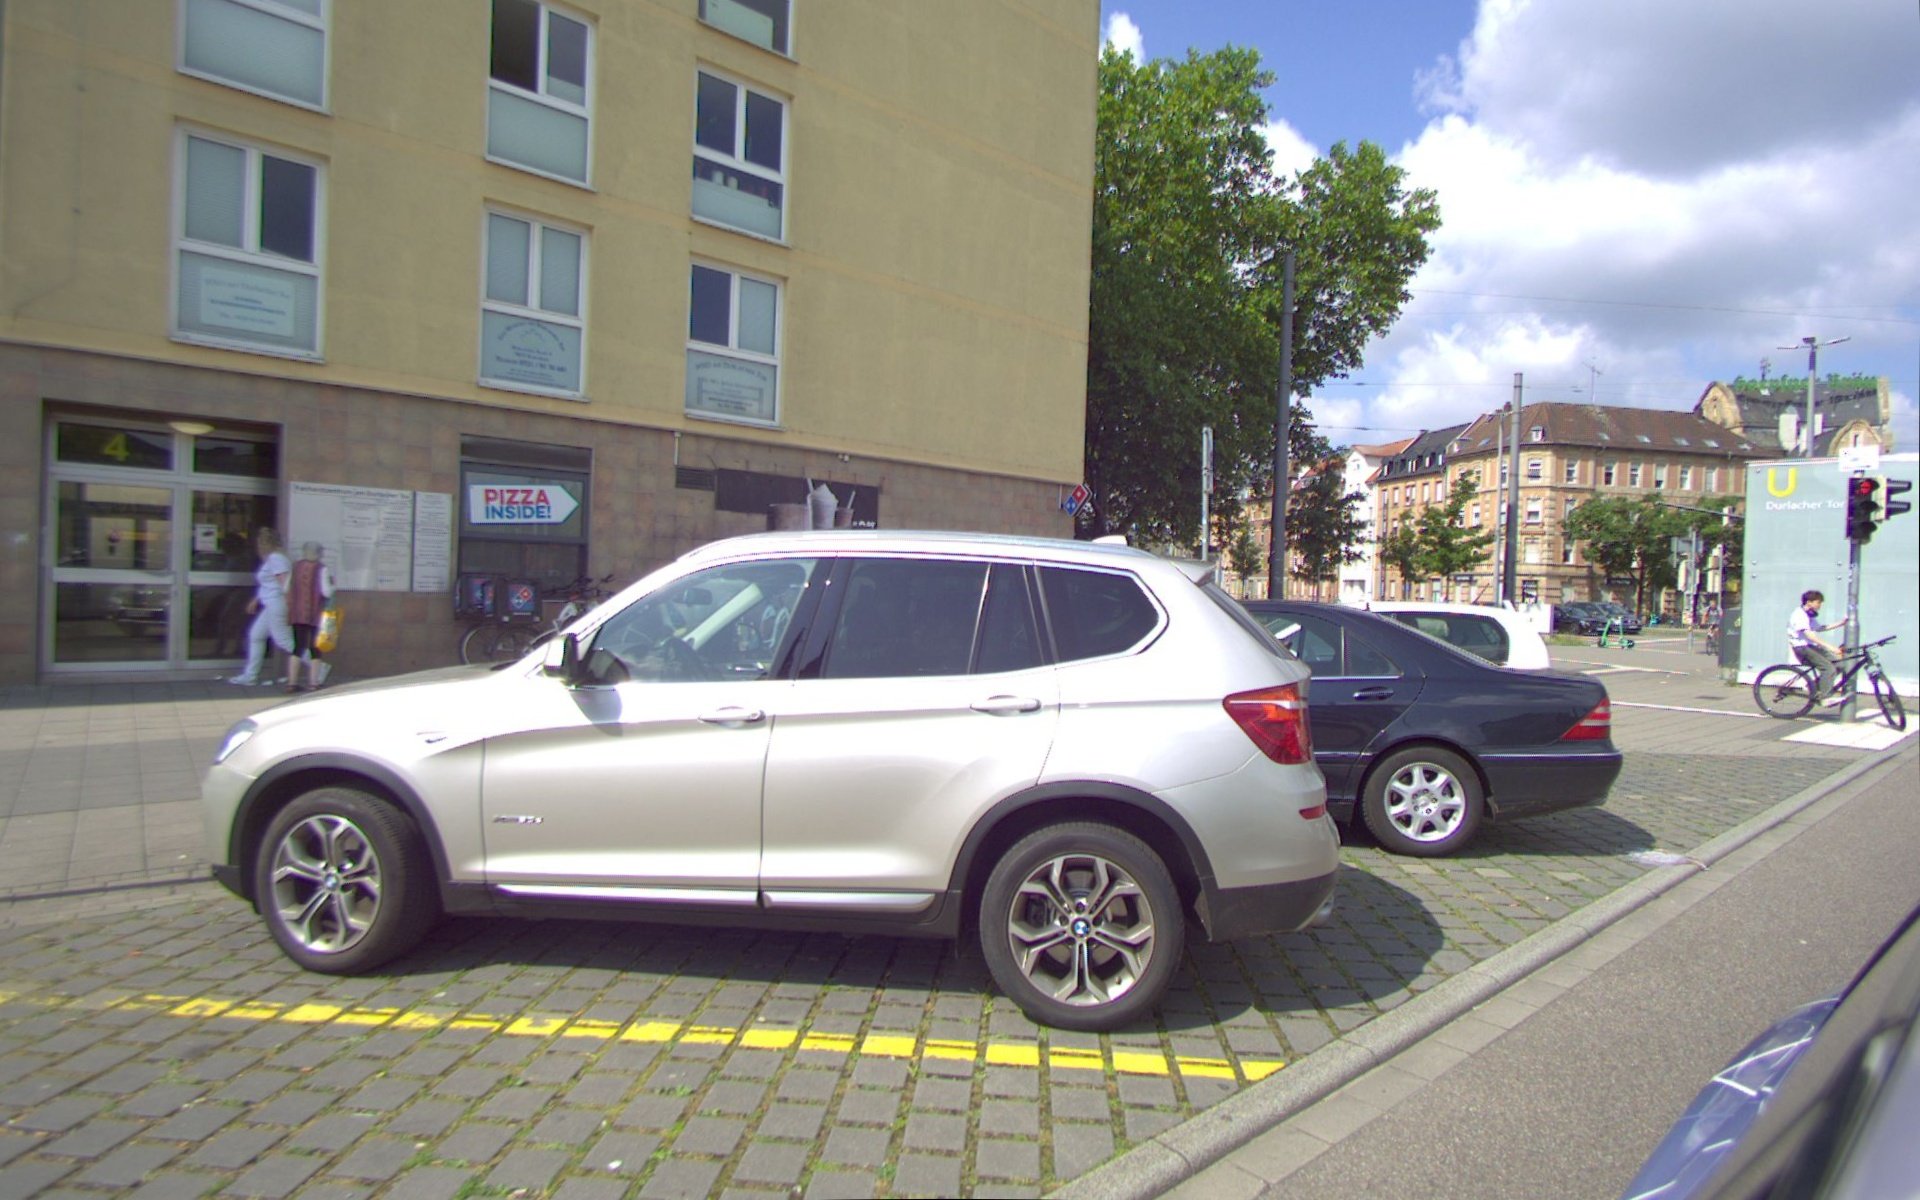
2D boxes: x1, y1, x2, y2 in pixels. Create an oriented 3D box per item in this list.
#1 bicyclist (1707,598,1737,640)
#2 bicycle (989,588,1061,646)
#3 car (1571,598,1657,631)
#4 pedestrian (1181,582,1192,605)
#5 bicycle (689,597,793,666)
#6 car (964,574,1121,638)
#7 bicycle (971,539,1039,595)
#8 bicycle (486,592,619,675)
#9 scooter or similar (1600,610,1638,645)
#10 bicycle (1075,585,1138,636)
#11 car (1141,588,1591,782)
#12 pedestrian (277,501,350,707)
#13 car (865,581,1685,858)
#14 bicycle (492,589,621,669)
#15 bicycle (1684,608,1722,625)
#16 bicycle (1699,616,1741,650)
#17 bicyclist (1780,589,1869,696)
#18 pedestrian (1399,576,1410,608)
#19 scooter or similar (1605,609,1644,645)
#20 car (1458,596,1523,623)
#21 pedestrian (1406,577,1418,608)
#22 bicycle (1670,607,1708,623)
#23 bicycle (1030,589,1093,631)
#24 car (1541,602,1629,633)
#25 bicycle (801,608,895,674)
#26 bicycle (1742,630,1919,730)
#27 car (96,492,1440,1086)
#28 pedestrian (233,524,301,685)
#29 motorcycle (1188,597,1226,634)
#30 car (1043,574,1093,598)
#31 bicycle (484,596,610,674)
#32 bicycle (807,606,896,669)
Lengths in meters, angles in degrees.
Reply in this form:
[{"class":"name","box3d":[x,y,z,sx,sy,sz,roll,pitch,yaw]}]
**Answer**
[{"class":"bicyclist","box3d":[26.872,0.662,35.691,0.730,1.455,0.655,1,1,-40]},{"class":"bicycle","box3d":[1.119,0.286,17.148,0.292,0.934,1.588,2,0,40]},{"class":"car","box3d":[35.022,0.774,54.298,1.961,1.594,3.739,3,0,-3]},{"class":"pedestrian","box3d":[20.339,-0.551,90.880,0.699,2.039,0.861,2,1,35]},{"class":"bicycle","box3d":[-3.104,0.462,14.426,1.438,0.934,0.293,4,-1,-40]},{"class":"car","box3d":[2.224,0.159,26.716,4.024,1.533,1.806,1,1,-42]},{"class":"bicycle","box3d":[0.809,-0.567,17.844,0.292,0.934,1.429,2,1,44]},{"class":"bicycle","box3d":[-4.854,0.397,12.106,1.439,0.934,0.293,2,0,-43]},{"class":"scooter or similar","box3d":[23.671,0.985,36.334,1.045,1.212,0.381,3,-1,3]},{"class":"bicycle","box3d":[2.693,0.182,18.479,1.440,0.894,0.293,0,2,-43]},{"class":"car","box3d":[3.414,0.656,9.161,3.439,1.471,1.774,1,1,10]},{"class":"pedestrian","box3d":[-6.642,0.040,10.391,0.452,2.039,0.603,4,-1,-40]},{"class":"car","box3d":[1.797,0.670,6.789,4.526,1.479,1.932,0,-2,11]},{"class":"bicycle","box3d":[-4.996,0.369,12.586,1.439,0.934,0.293,3,-1,-43]},{"class":"bicycle","box3d":[58.222,1.286,79.359,0.746,1.180,2.688,3,0,-7]},{"class":"bicycle","box3d":[26.784,1.149,35.631,2.290,1.134,0.663,1,1,-40]},{"class":"bicyclist","box3d":[11.446,0.547,13.418,0.387,1.353,0.785,3,-1,-11]},{"class":"pedestrian","box3d":[45.102,-0.787,102.688,0.655,3.160,0.887,3,-1,1]},{"class":"scooter or similar","box3d":[23.534,0.960,35.846,1.049,1.212,0.380,3,-1,14]},{"class":"car","box3d":[31.265,0.555,59.753,1.658,1.488,3.658,3,0,-3]},{"class":"pedestrian","box3d":[45.843,-0.772,102.693,0.713,3.115,0.887,3,-1,1]},{"class":"bicycle","box3d":[57.037,1.172,79.253,0.746,1.180,2.689,2,1,-7]},{"class":"bicycle","box3d":[1.903,0.185,18.888,1.428,0.747,0.292,1,1,-44]},{"class":"car","box3d":[32.195,0.873,52.257,1.833,1.393,3.945,2,1,-5]},{"class":"bicycle","box3d":[-1.639,0.595,15.002,1.438,0.934,0.293,1,1,-40]},{"class":"bicycle","box3d":[11.517,1.011,13.271,0.533,1.120,2.104,3,0,-12]},{"class":"car","box3d":[-0.718,0.513,4.336,4.519,1.668,2.057,2,1,8]},{"class":"pedestrian","box3d":[-7.344,0.041,10.720,0.452,1.638,0.603,4,2,-40]},{"class":"motorcycle","box3d":[7.281,0.435,29.946,0.959,1.043,2.287,1,0,10]},{"class":"car","box3d":[8.611,-1.105,80.934,1.959,1.747,4.005,4,-1,-29]},{"class":"bicycle","box3d":[-5.209,0.441,12.826,1.439,0.934,0.293,2,0,-43]},{"class":"bicycle","box3d":[-1.671,0.578,15.723,1.438,0.934,0.293,1,1,-40]}]
